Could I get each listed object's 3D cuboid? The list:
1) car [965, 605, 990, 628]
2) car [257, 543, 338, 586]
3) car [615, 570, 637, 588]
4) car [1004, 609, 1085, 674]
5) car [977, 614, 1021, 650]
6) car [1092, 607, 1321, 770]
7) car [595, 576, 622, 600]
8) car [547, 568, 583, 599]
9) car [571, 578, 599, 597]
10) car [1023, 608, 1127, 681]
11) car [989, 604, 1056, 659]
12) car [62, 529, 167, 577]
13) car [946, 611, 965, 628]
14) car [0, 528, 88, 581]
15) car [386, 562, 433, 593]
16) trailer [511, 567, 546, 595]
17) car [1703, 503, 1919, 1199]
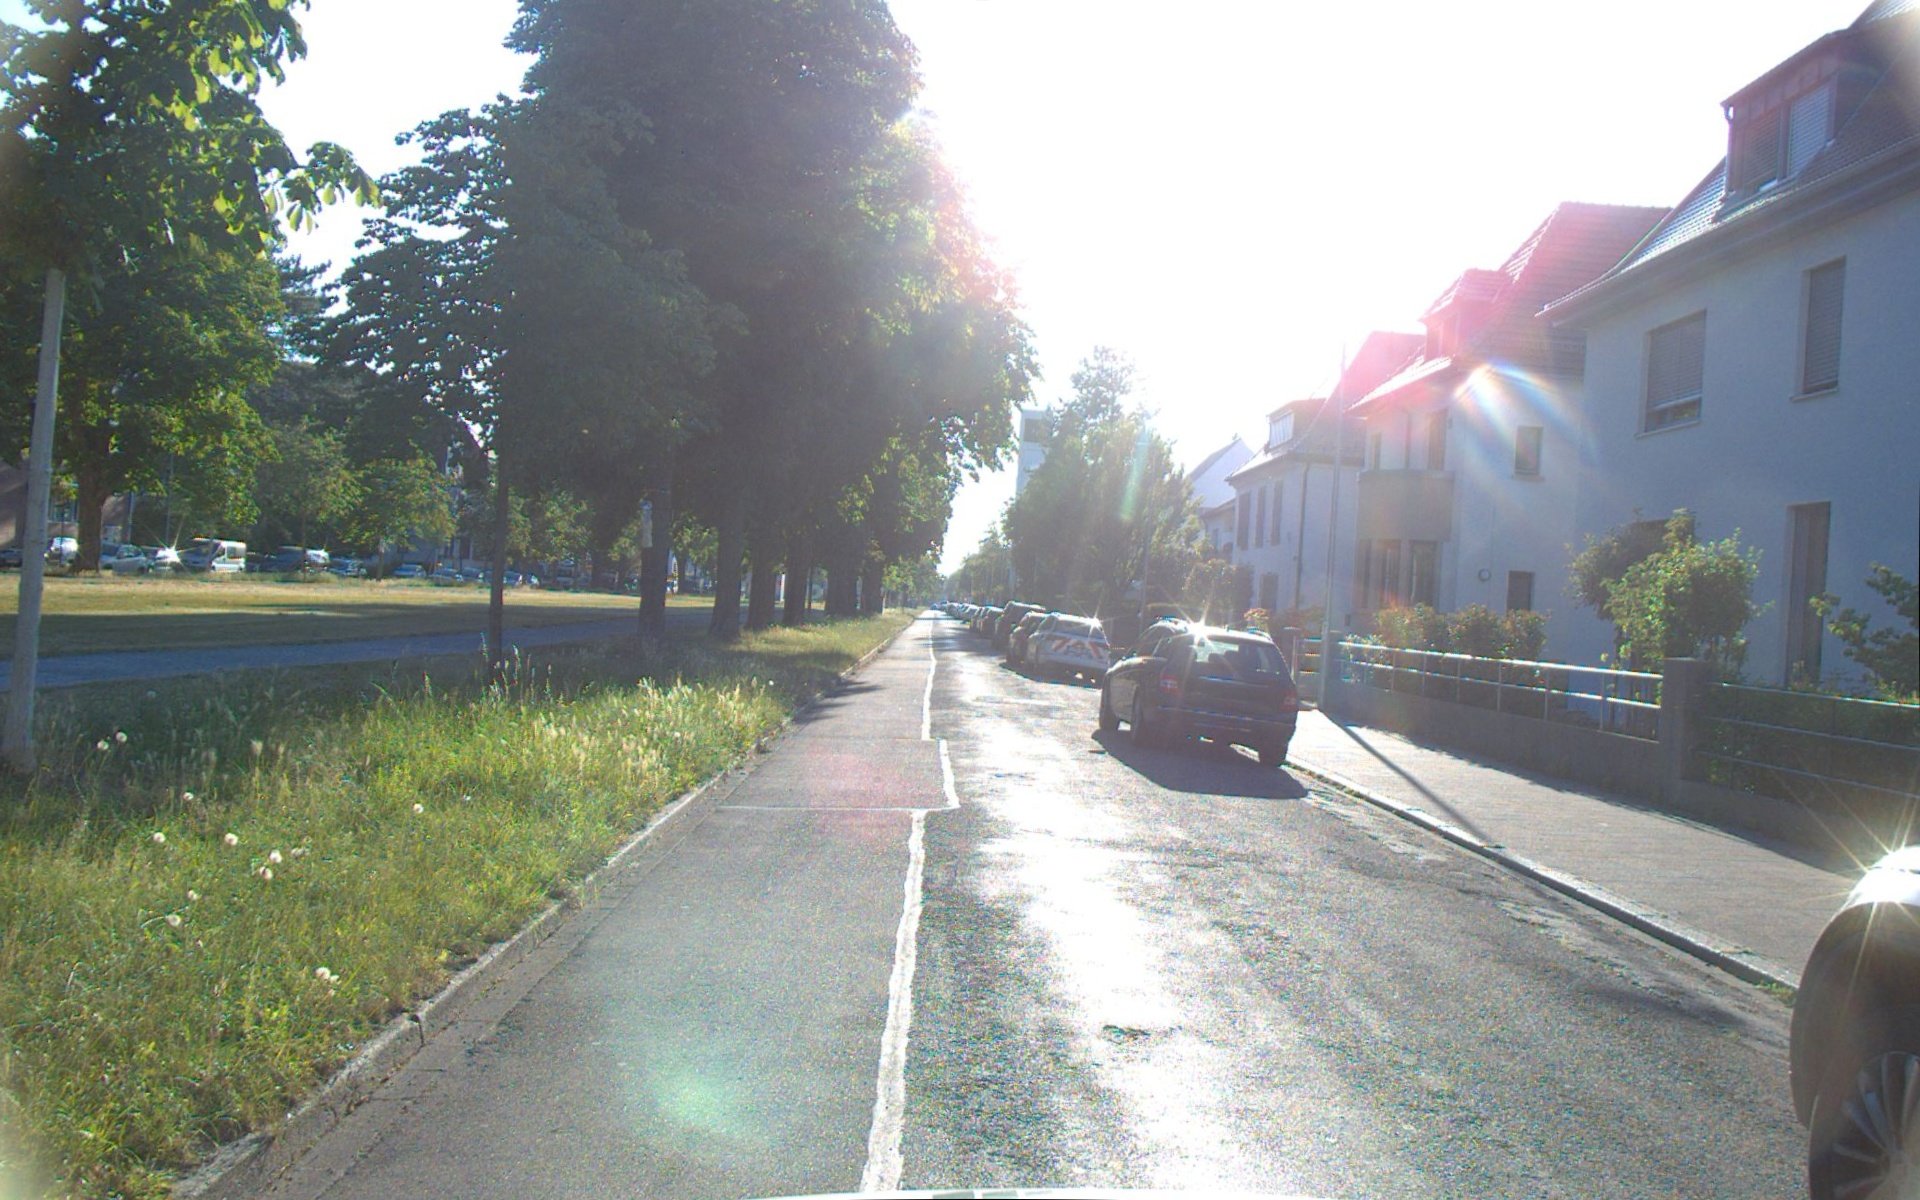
[{"bbox_3d":[1.357,1.321,132.265,1.723,1.443,4.071,10,-1,0],"label":"car"},{"bbox_3d":[-34.376,-1.792,85.930,1.953,1.974,5.245,4,0,0],"label":"car"},{"bbox_3d":[-42.750,-2.717,211.874,1.953,2.049,4.482,2,-2,-1],"label":"car"},{"bbox_3d":[2.297,1.104,45.904,1.745,1.487,4.592,7,-1,-1],"label":"car"},{"bbox_3d":[1.837,1.513,79.535,1.757,1.518,4.672,5,-1,-1],"label":"car"},{"bbox_3d":[2.796,0.953,19.737,1.745,1.525,4.395,7,-1,-2],"label":"car"},{"bbox_3d":[-35.815,-1.232,168.675,1.651,2.213,4.314,5,0,0],"label":"car"},{"bbox_3d":[-41.614,-1.682,174.400,2.388,2.973,5.816,2,-1,-1],"label":"car"},{"bbox_3d":[-35.864,-1.189,158.289,1.650,1.586,4.314,4,-1,0],"label":"car"},{"bbox_3d":[2.713,1.027,39.999,1.954,1.489,4.548,4,0,-2],"label":"car"},{"bbox_3d":[2.209,1.103,59.758,1.954,1.767,4.861,5,-1,-2],"label":"car"},{"bbox_3d":[-33.839,-1.853,66.369,1.783,1.668,4.649,4,0,-1],"label":"car"},{"bbox_3d":[-0.492,2.084,176.174,1.723,1.633,4.357,4,-1,-2],"label":"car"},{"bbox_3d":[-39.329,-1.907,70.645,1.721,2.048,4.368,4,0,0],"label":"car"},{"bbox_3d":[-40.502,-1.637,121.738,1.990,2.049,3.999,2,-1,0],"label":"car"},{"bbox_3d":[-41.160,-1.806,157.930,1.953,2.470,4.723,4,-1,0],"label":"trailer"},{"bbox_3d":[3.065,0.786,2.146,1.823,1.748,4.465,10,-1,-2],"label":"car"}]
